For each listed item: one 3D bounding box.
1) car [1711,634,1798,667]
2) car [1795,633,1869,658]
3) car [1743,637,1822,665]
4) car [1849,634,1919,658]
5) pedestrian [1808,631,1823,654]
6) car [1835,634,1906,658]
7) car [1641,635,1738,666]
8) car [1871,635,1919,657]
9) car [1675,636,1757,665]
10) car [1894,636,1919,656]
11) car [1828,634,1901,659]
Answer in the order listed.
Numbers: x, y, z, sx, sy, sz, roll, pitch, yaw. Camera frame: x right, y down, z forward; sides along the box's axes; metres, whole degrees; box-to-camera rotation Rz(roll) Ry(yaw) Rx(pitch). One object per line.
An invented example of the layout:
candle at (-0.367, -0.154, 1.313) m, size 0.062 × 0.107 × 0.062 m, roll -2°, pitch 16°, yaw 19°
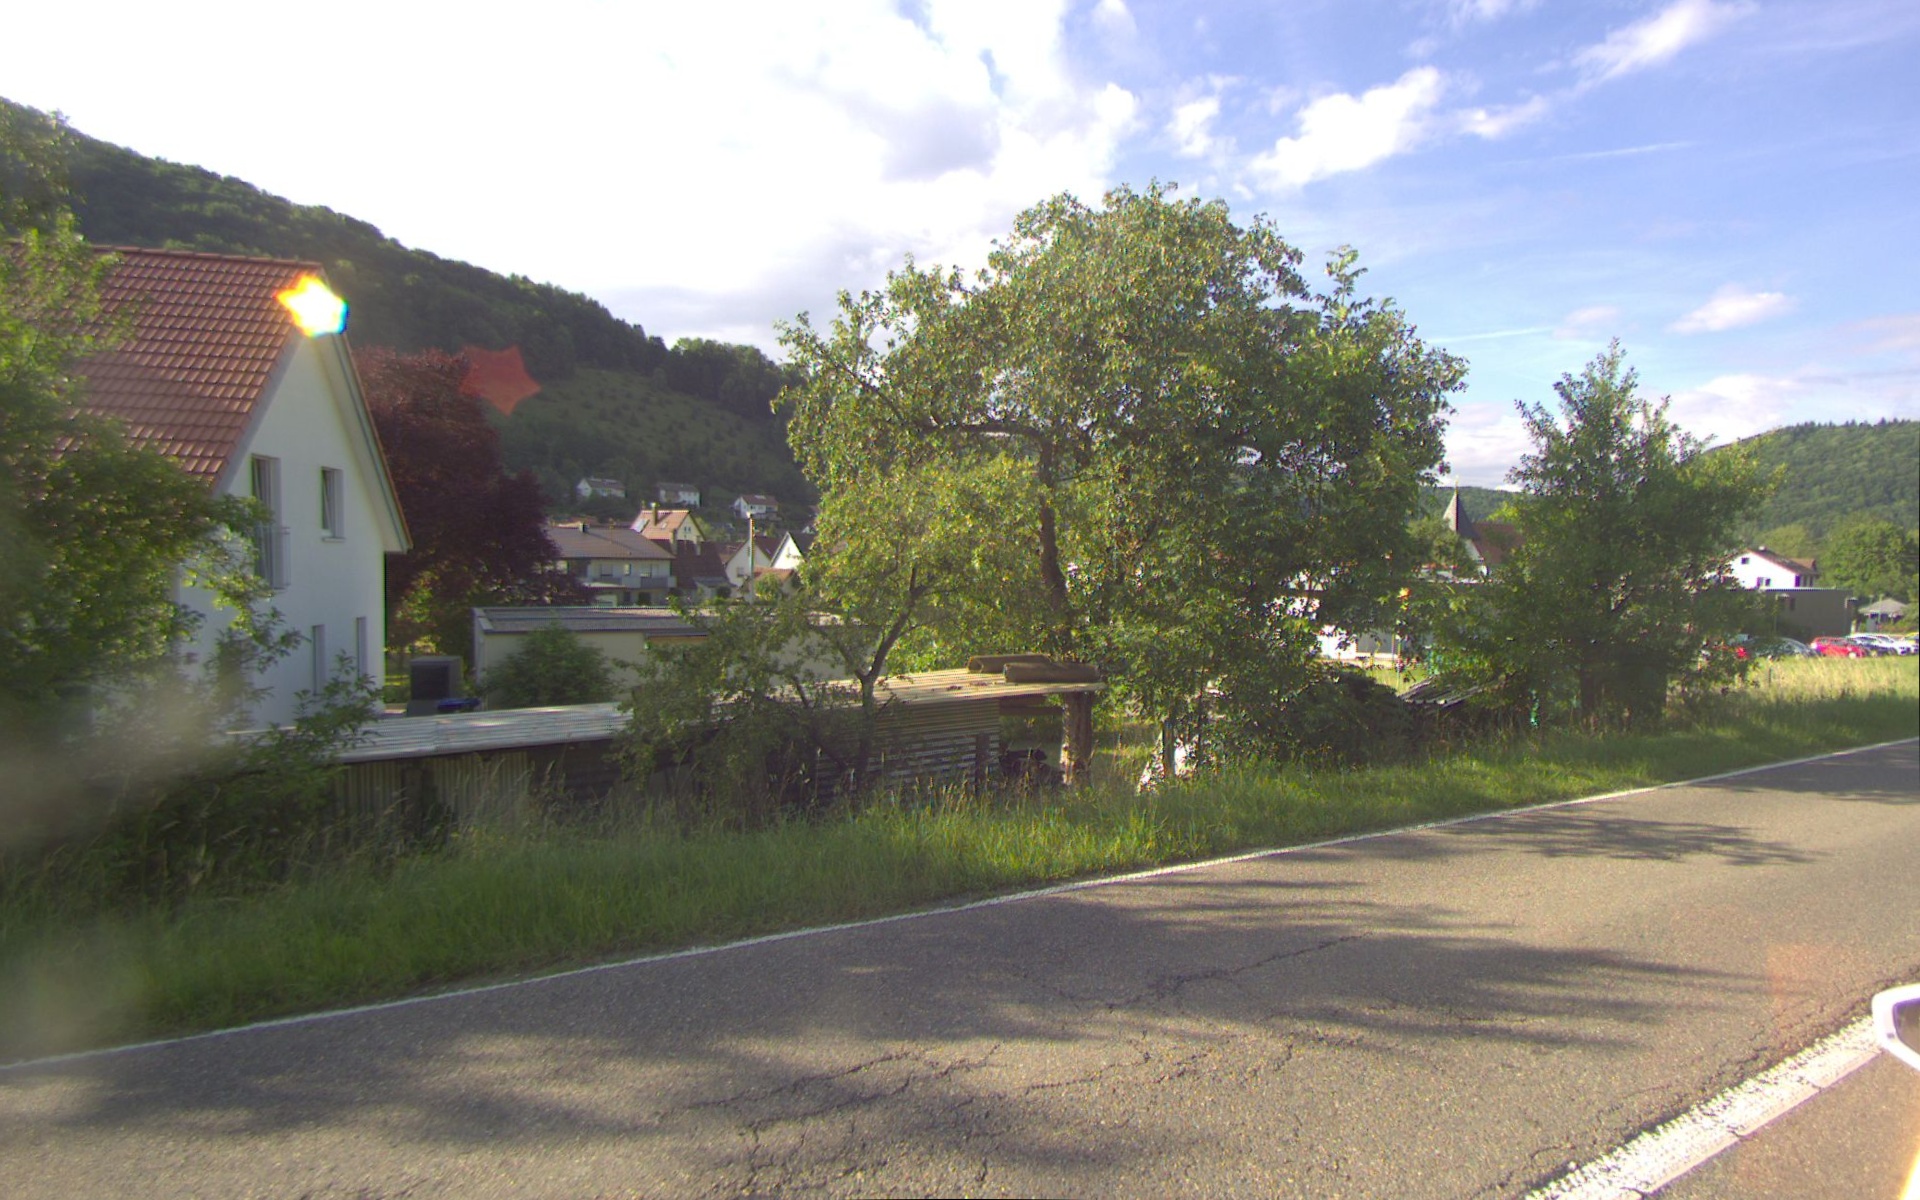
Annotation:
car at (55.184, 3.461, 69.829) m, size 1.981 × 2.034 × 4.376 m, roll 2°, pitch 0°, yaw -36°
car at (67.523, 3.515, 77.838) m, size 1.981 × 1.733 × 3.959 m, roll 2°, pitch 0°, yaw -36°
car at (58.763, 3.624, 71.821) m, size 1.981 × 1.733 × 3.959 m, roll 2°, pitch 0°, yaw -36°
car at (77.167, 3.834, 83.902) m, size 1.981 × 1.733 × 3.959 m, roll 2°, pitch 0°, yaw -36°
pedestrian at (78.935, 3.907, 92.668) m, size 0.963 × 2.040 × 0.820 m, roll 2°, pitch 0°, yaw -34°
car at (74.443, 3.744, 82.132) m, size 1.981 × 1.733 × 3.959 m, roll 2°, pitch 0°, yaw -36°
car at (47.402, 3.252, 65.358) m, size 1.981 × 1.733 × 4.698 m, roll 2°, pitch 0°, yaw -36°
car at (81.902, 3.992, 87.120) m, size 1.981 × 1.733 × 3.959 m, roll 2°, pitch 0°, yaw -36°
car at (50.326, 3.347, 66.929) m, size 1.981 × 1.733 × 3.959 m, roll 2°, pitch 0°, yaw -36°
car at (84.546, 4.074, 87.795) m, size 1.981 × 1.733 × 3.959 m, roll 2°, pitch 0°, yaw -36°
car at (71.730, 3.650, 79.669) m, size 1.981 × 1.733 × 3.959 m, roll 2°, pitch 0°, yaw -36°
